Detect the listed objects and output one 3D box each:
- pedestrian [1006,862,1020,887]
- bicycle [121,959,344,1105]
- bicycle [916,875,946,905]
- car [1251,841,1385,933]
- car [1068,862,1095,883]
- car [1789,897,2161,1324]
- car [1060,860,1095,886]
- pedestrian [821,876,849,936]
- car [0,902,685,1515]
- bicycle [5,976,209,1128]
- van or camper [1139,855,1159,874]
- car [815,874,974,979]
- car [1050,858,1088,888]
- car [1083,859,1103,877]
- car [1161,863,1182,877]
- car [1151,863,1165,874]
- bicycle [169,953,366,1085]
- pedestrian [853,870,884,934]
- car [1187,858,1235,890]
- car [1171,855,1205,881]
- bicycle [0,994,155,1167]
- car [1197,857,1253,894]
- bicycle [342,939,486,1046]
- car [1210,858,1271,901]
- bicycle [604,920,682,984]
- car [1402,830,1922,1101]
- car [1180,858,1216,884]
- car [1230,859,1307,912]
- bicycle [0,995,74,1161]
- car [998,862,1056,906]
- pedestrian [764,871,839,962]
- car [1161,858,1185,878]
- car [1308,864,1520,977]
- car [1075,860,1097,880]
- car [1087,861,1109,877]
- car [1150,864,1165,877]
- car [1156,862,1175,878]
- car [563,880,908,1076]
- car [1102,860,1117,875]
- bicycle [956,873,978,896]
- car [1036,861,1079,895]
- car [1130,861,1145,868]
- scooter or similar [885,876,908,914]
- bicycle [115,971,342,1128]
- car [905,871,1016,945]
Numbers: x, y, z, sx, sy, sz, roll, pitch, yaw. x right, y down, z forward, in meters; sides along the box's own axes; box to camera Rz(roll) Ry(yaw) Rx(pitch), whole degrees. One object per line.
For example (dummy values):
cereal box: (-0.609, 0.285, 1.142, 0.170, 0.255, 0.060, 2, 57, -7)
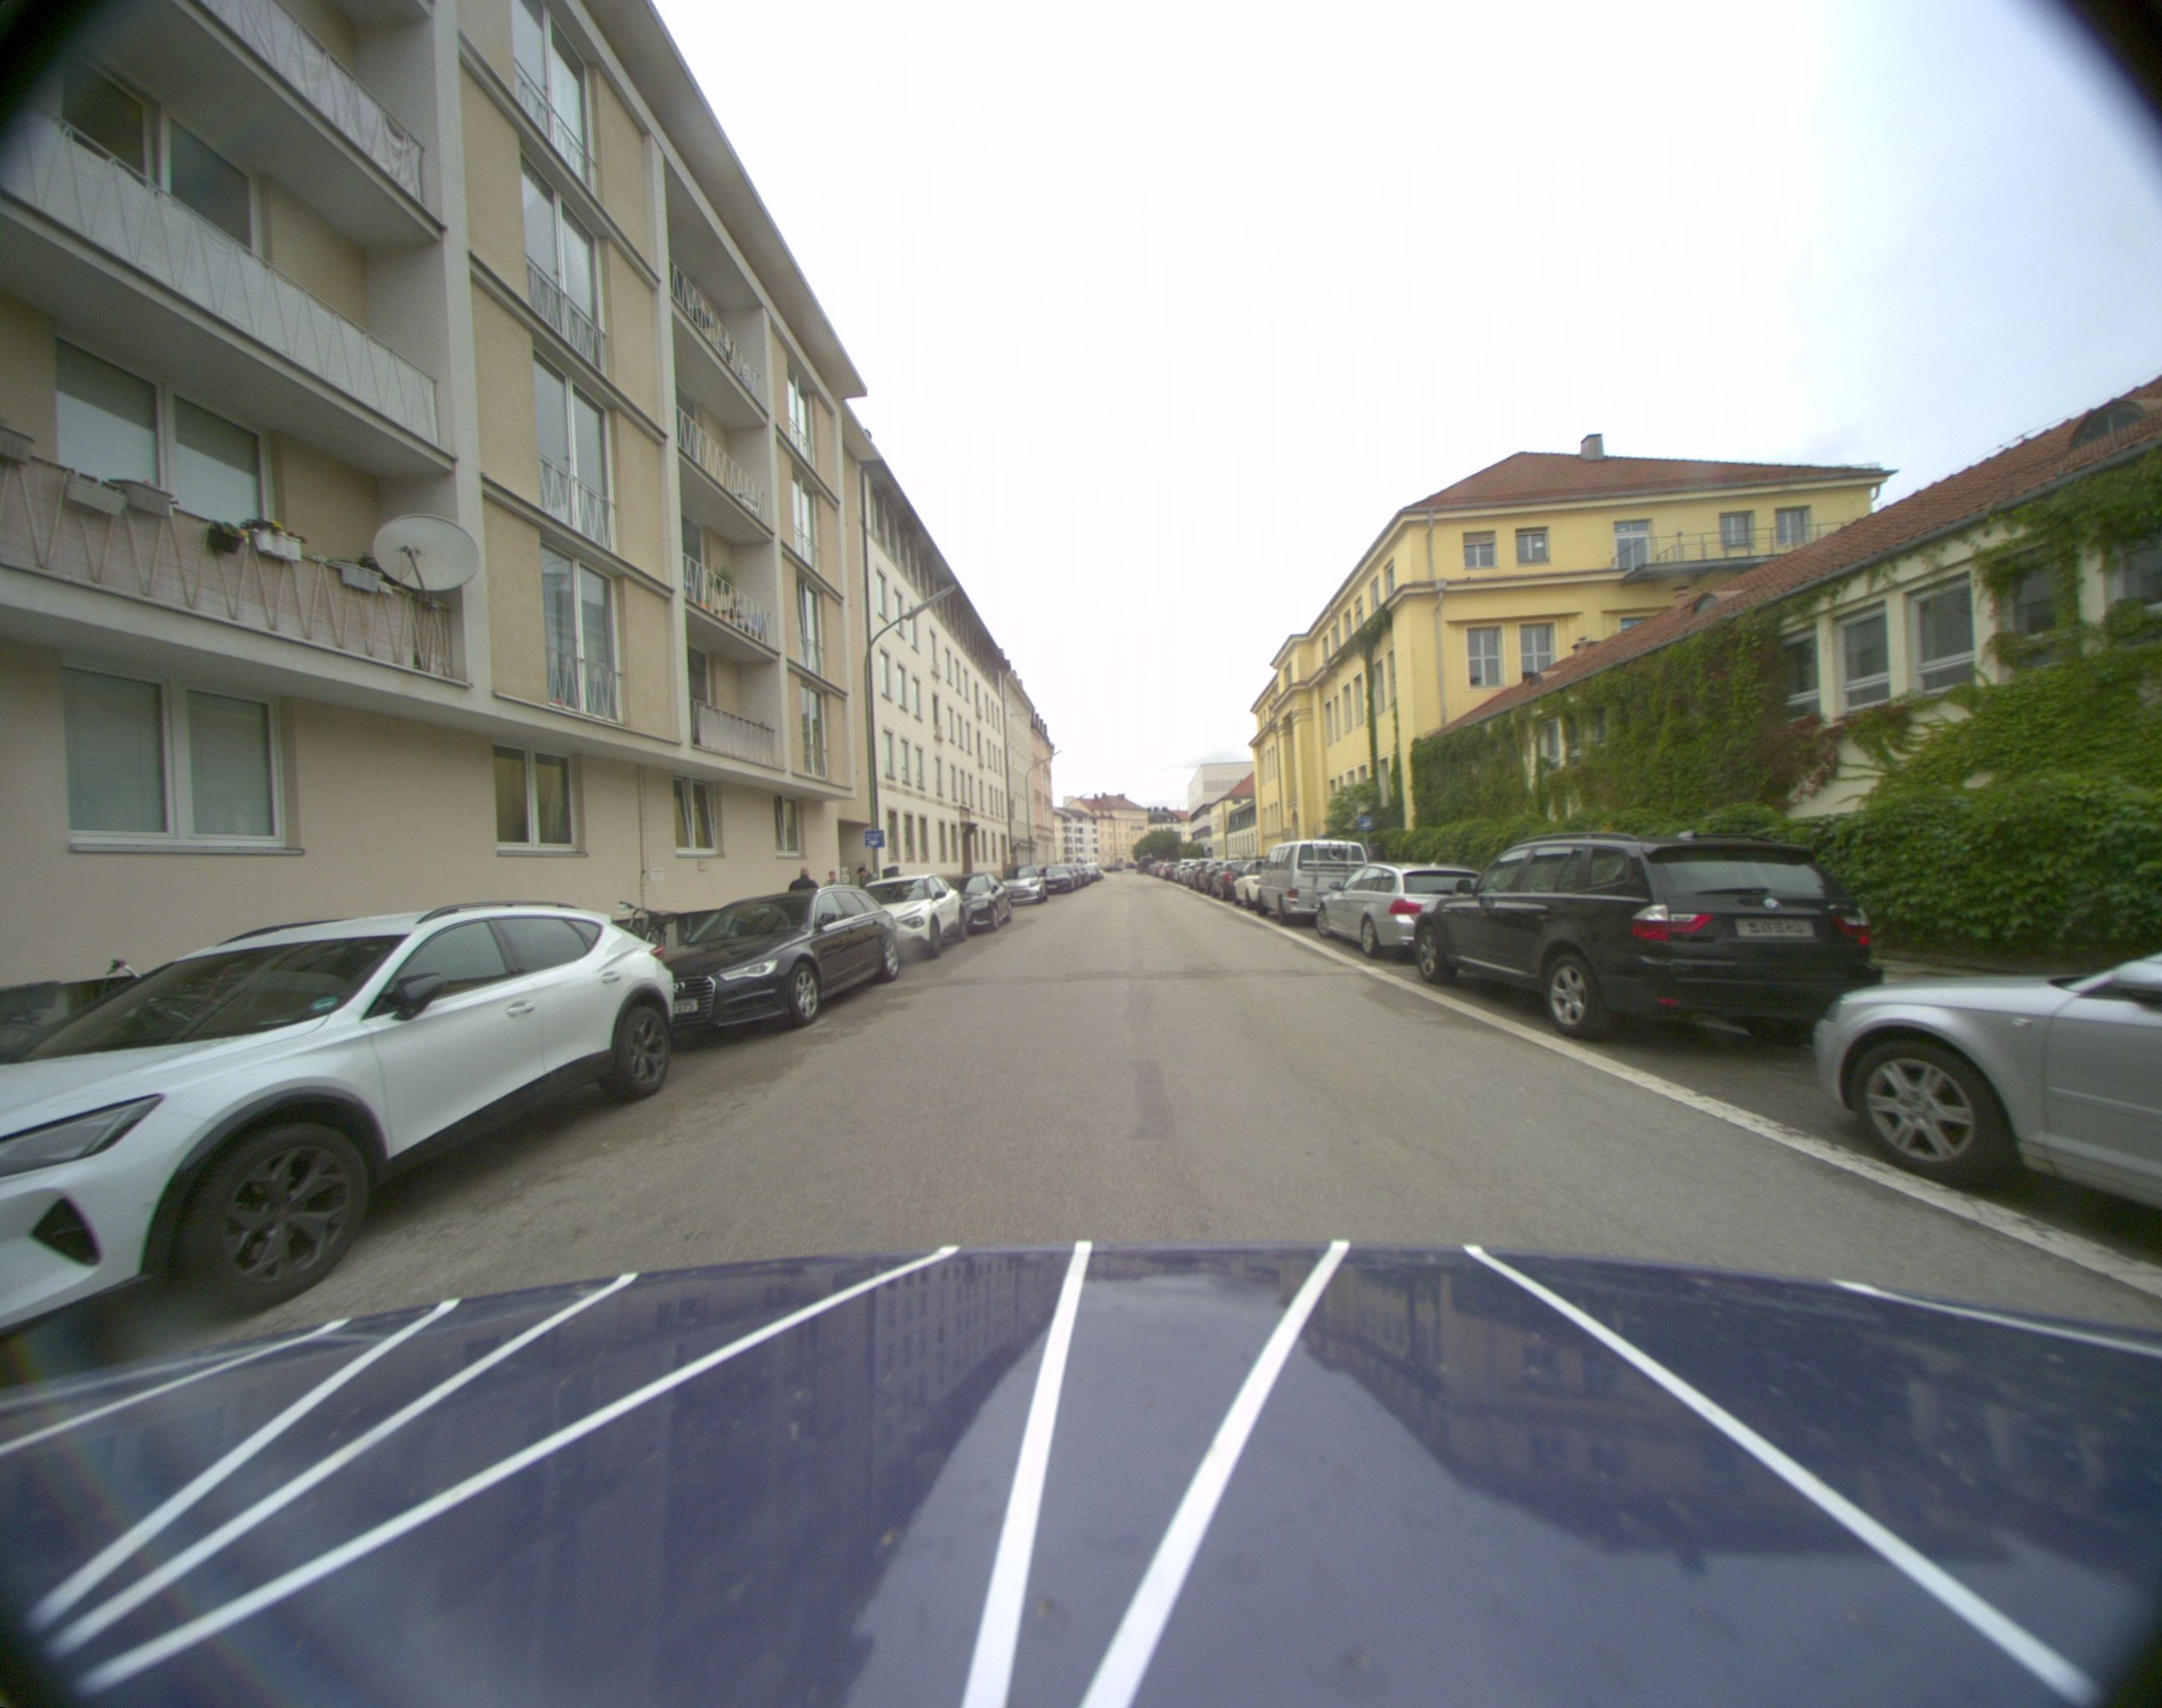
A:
pedestrian: (-4.498, 1.367, 50.130, 0.736, 1.616, 0.828, -1, 0, 4)
bicycle: (-7.659, 1.560, 6.950, 0.390, 1.017, 1.402, -1, 0, 3)
bicycle: (-6.250, 1.494, 31.753, 0.660, 1.156, 2.029, -1, 0, 4)
car: (5.396, 0.674, 17.959, 1.998, 1.864, 4.760, 0, 0, 4)
car: (0.068, 1.377, 58.731, 1.696, 1.455, 4.084, -2, 0, 5)
car: (4.455, 0.914, 1.902, 1.623, 1.370, 4.072, 1, 0, 2)
car: (-0.201, 1.220, 50.201, 1.782, 1.575, 4.331, -3, 0, 6)
pedestrian: (-6.569, 1.369, 20.274, 0.532, 1.575, 0.560, 0, 0, 4)
car: (-4.107, 1.235, 4.018, 1.744, 1.528, 4.272, -6, 0, -2)
bicycle: (-8.100, 1.613, 6.369, 0.374, 1.017, 1.002, -1, 0, 3)
van or camper: (10.385, 1.601, 116.589, 2.141, 2.791, 5.571, -1, -1, -4)
car: (-3.345, 1.250, 14.538, 1.743, 1.490, 4.220, -5, -1, 2)
car: (-0.667, 1.100, 45.458, 1.782, 1.575, 4.273, -2, 0, 5)
car: (1.340, 1.487, 81.913, 1.845, 1.775, 4.897, -5, -1, 4)
car: (8.851, 1.555, 74.739, 1.679, 1.389, 3.998, 1, -1, 1)
car: (10.655, 2.006, 105.249, 1.699, 1.552, 3.868, 1, -1, 2)
bicycle: (-8.029, 1.590, 7.584, 0.390, 1.017, 1.402, -1, 0, 3)
pedestrian: (-5.555, 1.239, 19.850, 0.598, 1.644, 0.631, 0, 0, 4)
car: (6.539, 0.989, 38.572, 1.786, 1.529, 4.196, 1, -1, 2)
car: (7.309, 0.956, 52.066, 1.684, 1.624, 4.357, -3, 0, 1)
bicycle: (-7.406, 1.588, 5.253, 0.424, 1.017, 1.199, -1, 0, 10)
car: (6.223, 0.882, 33.251, 1.786, 1.529, 4.149, 0, 0, 2)
bicycle: (-7.857, 1.598, 9.027, 0.390, 1.017, 1.402, -1, 0, 3)
car: (5.870, 0.896, 28.331, 1.582, 1.447, 3.905, 1, 0, 3)
bicycle: (-7.501, 1.663, 13.083, 0.445, 0.930, 1.402, -1, 0, 3)
car: (4.717, 0.733, 7.175, 1.623, 1.719, 4.425, 2, 0, 2)
car: (7.127, 0.986, 46.559, 1.684, 1.417, 3.895, -3, 0, 3)
car: (5.647, 0.893, 23.292, 1.582, 1.483, 3.731, 1, 0, 3)
bicycle: (-8.049, 1.649, 5.155, 0.534, 1.126, 1.409, -2, -1, 0)
car: (-2.102, 1.157, 30.766, 1.675, 1.525, 3.883, -5, -1, 4)
pedestrian: (-5.473, 1.197, 14.977, 0.900, 1.677, 1.320, -2, 0, 2)
car: (7.451, 1.119, 62.108, 1.683, 1.487, 3.987, 1, 0, 3)
car: (5.110, 0.921, 12.370, 1.705, 1.414, 4.426, 1, 0, 3)
car: (0.471, 1.304, 63.450, 1.696, 1.574, 4.083, -3, 0, 2)
car: (1.587, 1.394, 70.970, 1.696, 1.442, 4.085, -1, 0, 6)
car: (8.646, 1.825, 85.799, 1.678, 1.396, 3.993, 1, -1, 5)
car: (8.922, 1.688, 80.427, 1.679, 1.557, 3.998, 1, -1, 1)
car: (-3.687, 1.220, 9.202, 1.743, 1.490, 4.496, -5, 0, 4)
car: (3.250, 1.522, 86.748, 1.607, 1.632, 3.632, -2, 0, 2)
bicycle: (-5.813, 1.562, 38.950, 0.660, 1.120, 2.029, -1, 0, 4)
car: (-1.189, 1.226, 40.176, 1.860, 1.535, 4.816, -3, 0, 2)
car: (15.479, 2.807, 208.312, 3.996, 1.849, 2.001, -2, 0, 4)
scooter or similar: (-6.638, 1.471, 27.384, 0.601, 1.245, 1.037, -1, 3, -5)
bicycle: (-7.226, 1.611, 6.525, 0.424, 1.017, 1.302, -1, 0, 3)
car: (-2.881, 1.257, 19.201, 1.800, 1.412, 4.483, -6, -1, 2)
